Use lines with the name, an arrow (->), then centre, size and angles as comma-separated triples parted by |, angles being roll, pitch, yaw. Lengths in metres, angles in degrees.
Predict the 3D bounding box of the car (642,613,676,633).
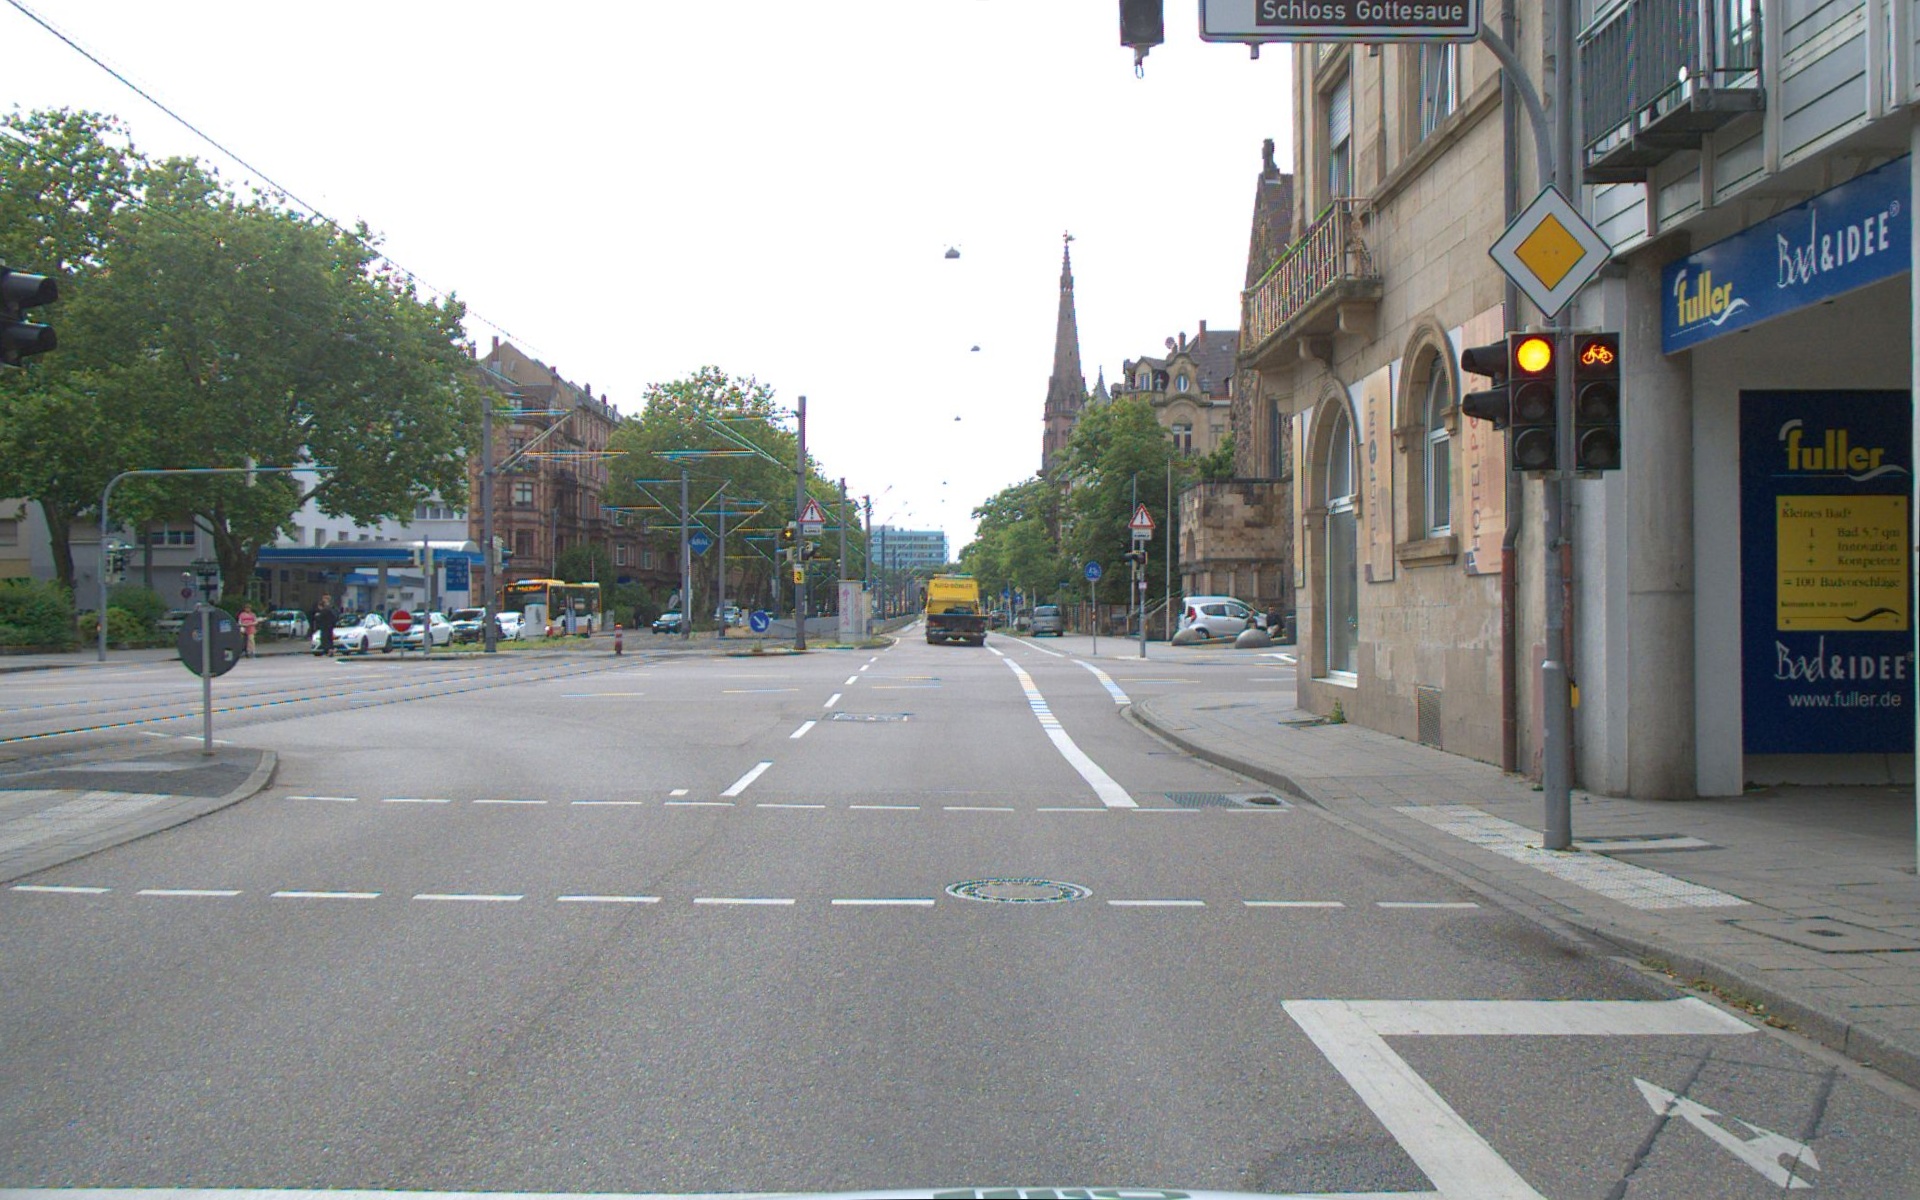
car -> -21.274, 1.632, 117.005 | 1.622, 1.344, 3.638 | 1, 0, 1

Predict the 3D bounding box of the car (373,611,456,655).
car -> -21.419, 1.285, 65.127 | 1.953, 1.622, 3.999 | 1, 0, -1

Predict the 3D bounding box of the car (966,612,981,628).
car -> 1.766, 2.659, 216.823 | 1.953, 2.049, 3.999 | 1, 0, -1

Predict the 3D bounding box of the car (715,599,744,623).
car -> -19.652, 0.948, 141.097 | 1.953, 2.049, 3.999 | 1, -1, -1

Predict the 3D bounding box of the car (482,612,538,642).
car -> -21.376, 1.282, 78.699 | 1.622, 1.344, 3.638 | 1, 0, 1

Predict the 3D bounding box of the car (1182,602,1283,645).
car -> 10.679, 0.928, 65.047 | 3.638, 1.591, 2.000 | 1, 0, -1

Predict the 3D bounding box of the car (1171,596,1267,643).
car -> 10.695, 0.797, 68.557 | 3.638, 1.888, 2.000 | 1, 0, -1

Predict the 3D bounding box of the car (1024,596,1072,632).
car -> 4.819, 0.772, 90.047 | 1.951, 1.888, 4.030 | 1, 0, 12

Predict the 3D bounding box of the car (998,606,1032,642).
car -> 3.291, 1.421, 99.656 | 1.952, 2.049, 4.000 | 1, 0, 1

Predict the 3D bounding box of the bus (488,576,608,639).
bus -> -21.958, 0.416, 89.083 | 3.164, 3.088, 12.312 | 1, 0, 1

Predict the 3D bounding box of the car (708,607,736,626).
car -> -21.447, 1.443, 149.025 | 1.953, 1.639, 3.999 | 1, 0, -1

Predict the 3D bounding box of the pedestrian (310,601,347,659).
pedestrian -> -19.364, 0.919, 50.699 | 0.849, 1.743, 0.691 | 0, 0, 3

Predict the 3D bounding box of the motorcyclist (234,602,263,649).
motorcyclist -> -23.655, 0.855, 55.006 | 0.607, 1.546, 0.873 | 0, 0, -1

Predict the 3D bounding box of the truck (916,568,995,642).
truck -> -0.319, 0.205, 68.690 | 2.994, 2.817, 9.811 | 0, 0, -2

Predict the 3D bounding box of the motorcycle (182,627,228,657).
motorcycle -> -24.675, 1.367, 54.077 | 0.594, 0.945, 1.951 | 0, 0, 0

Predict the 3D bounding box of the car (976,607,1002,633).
car -> 2.377, 1.628, 136.149 | 1.953, 2.049, 3.999 | 1, 0, -1

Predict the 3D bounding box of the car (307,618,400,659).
car -> -21.432, 1.329, 58.590 | 1.711, 1.344, 4.075 | 1, 0, 1

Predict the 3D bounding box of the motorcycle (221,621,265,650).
motorcycle -> -23.686, 1.165, 54.671 | 0.594, 0.945, 1.951 | 0, 0, 0

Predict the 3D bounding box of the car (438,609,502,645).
car -> -21.219, 1.137, 71.780 | 1.622, 1.504, 3.638 | 1, 0, 1

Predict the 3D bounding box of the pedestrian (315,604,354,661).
pedestrian -> -19.432, 0.999, 51.381 | 0.853, 1.743, 0.875 | 0, 0, 1

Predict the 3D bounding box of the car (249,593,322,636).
car -> -32.783, 0.692, 80.446 | 1.953, 2.049, 3.999 | 0, 0, -1

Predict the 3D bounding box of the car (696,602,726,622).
car -> -21.221, 1.020, 141.181 | 1.953, 1.639, 3.999 | 1, 0, -1

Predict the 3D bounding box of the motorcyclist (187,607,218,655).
motorcyclist -> -24.673, 0.991, 53.907 | 0.607, 1.546, 0.873 | 0, 0, -1

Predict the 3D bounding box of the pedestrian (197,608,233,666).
pedestrian -> -22.360, 1.113, 49.645 | 0.669, 1.720, 0.742 | 1, -1, 4
